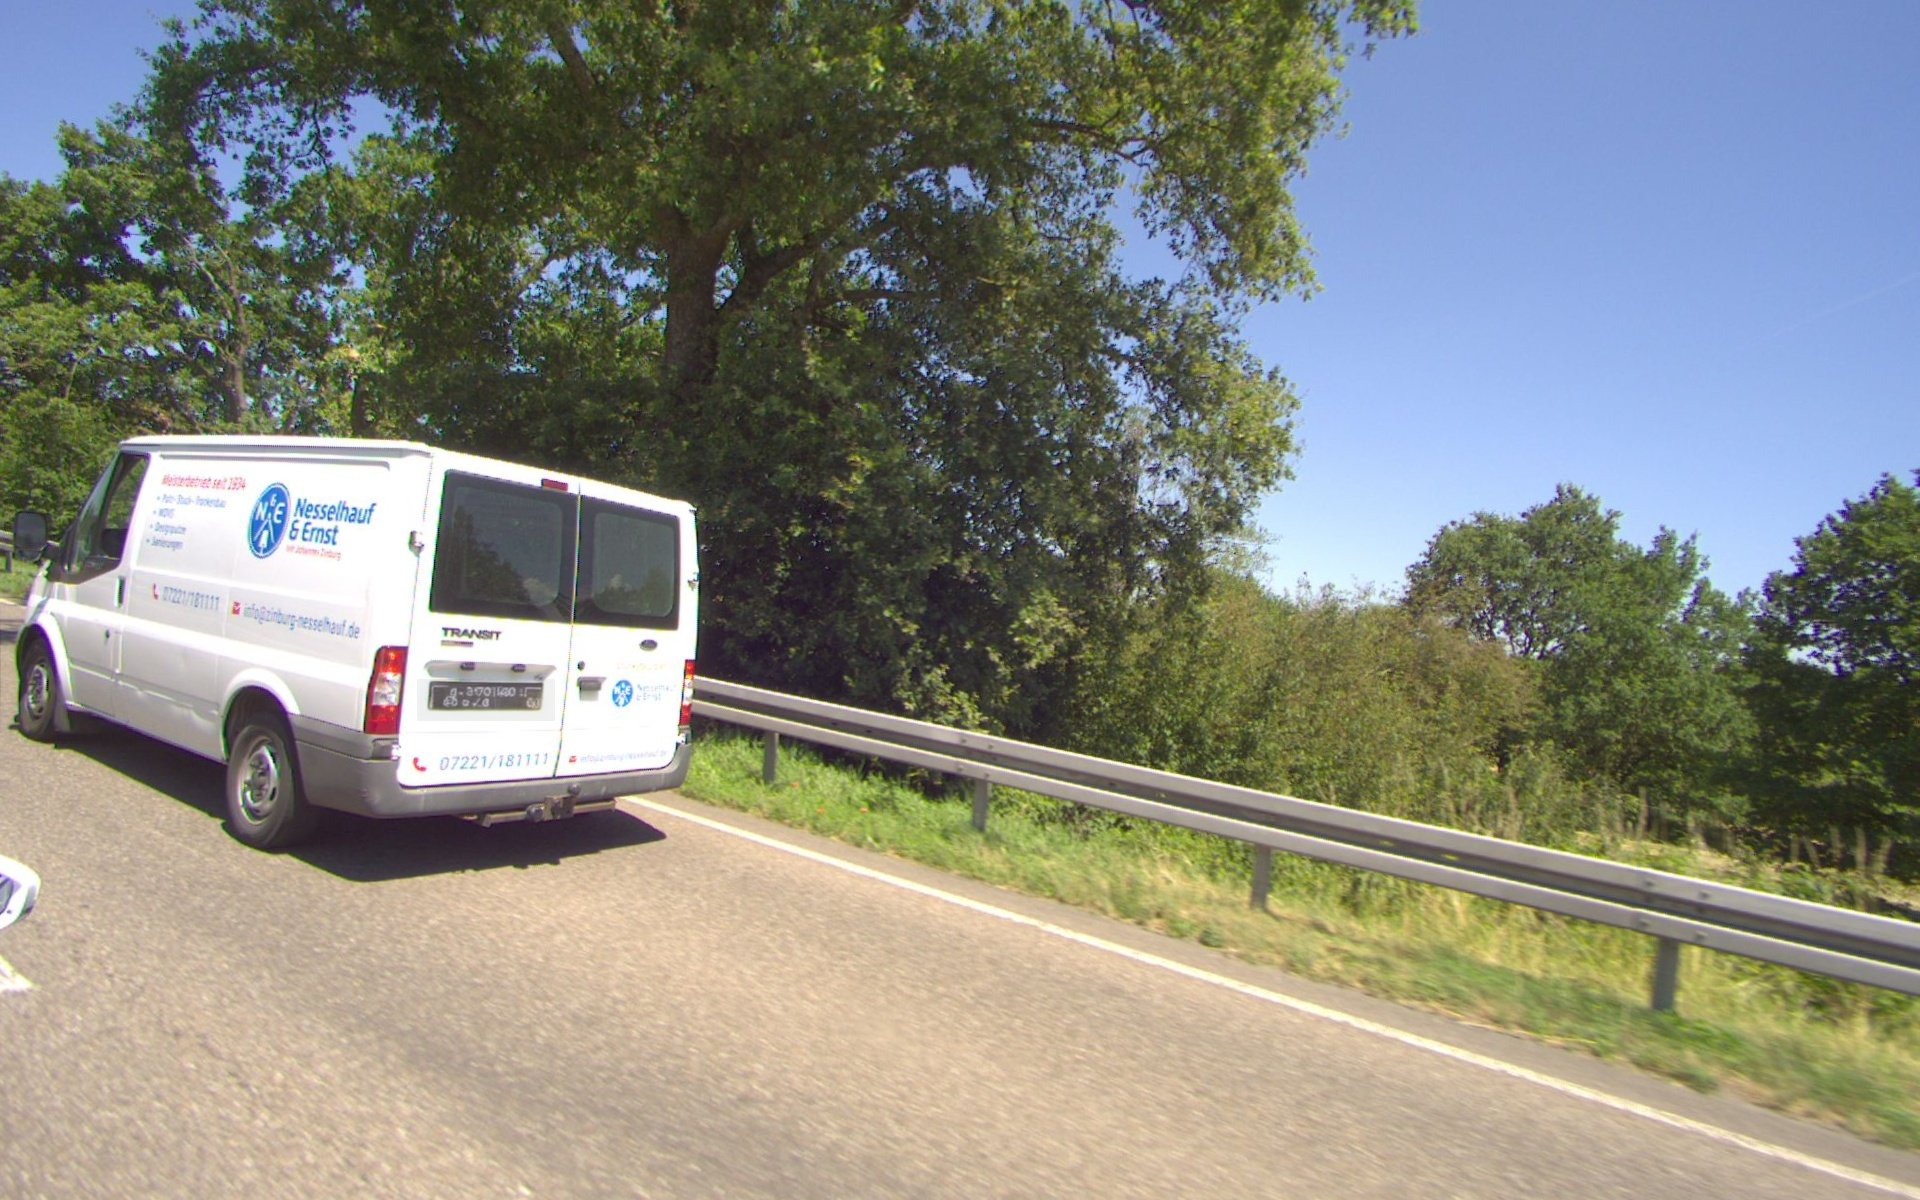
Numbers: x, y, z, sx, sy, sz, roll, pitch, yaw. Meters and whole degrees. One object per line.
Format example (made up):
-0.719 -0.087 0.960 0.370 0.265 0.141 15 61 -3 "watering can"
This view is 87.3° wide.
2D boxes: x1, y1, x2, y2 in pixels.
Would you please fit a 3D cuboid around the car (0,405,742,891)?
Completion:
-3.980 0.034 6.287 4.950 2.014 2.008 6 0 31 "car"
